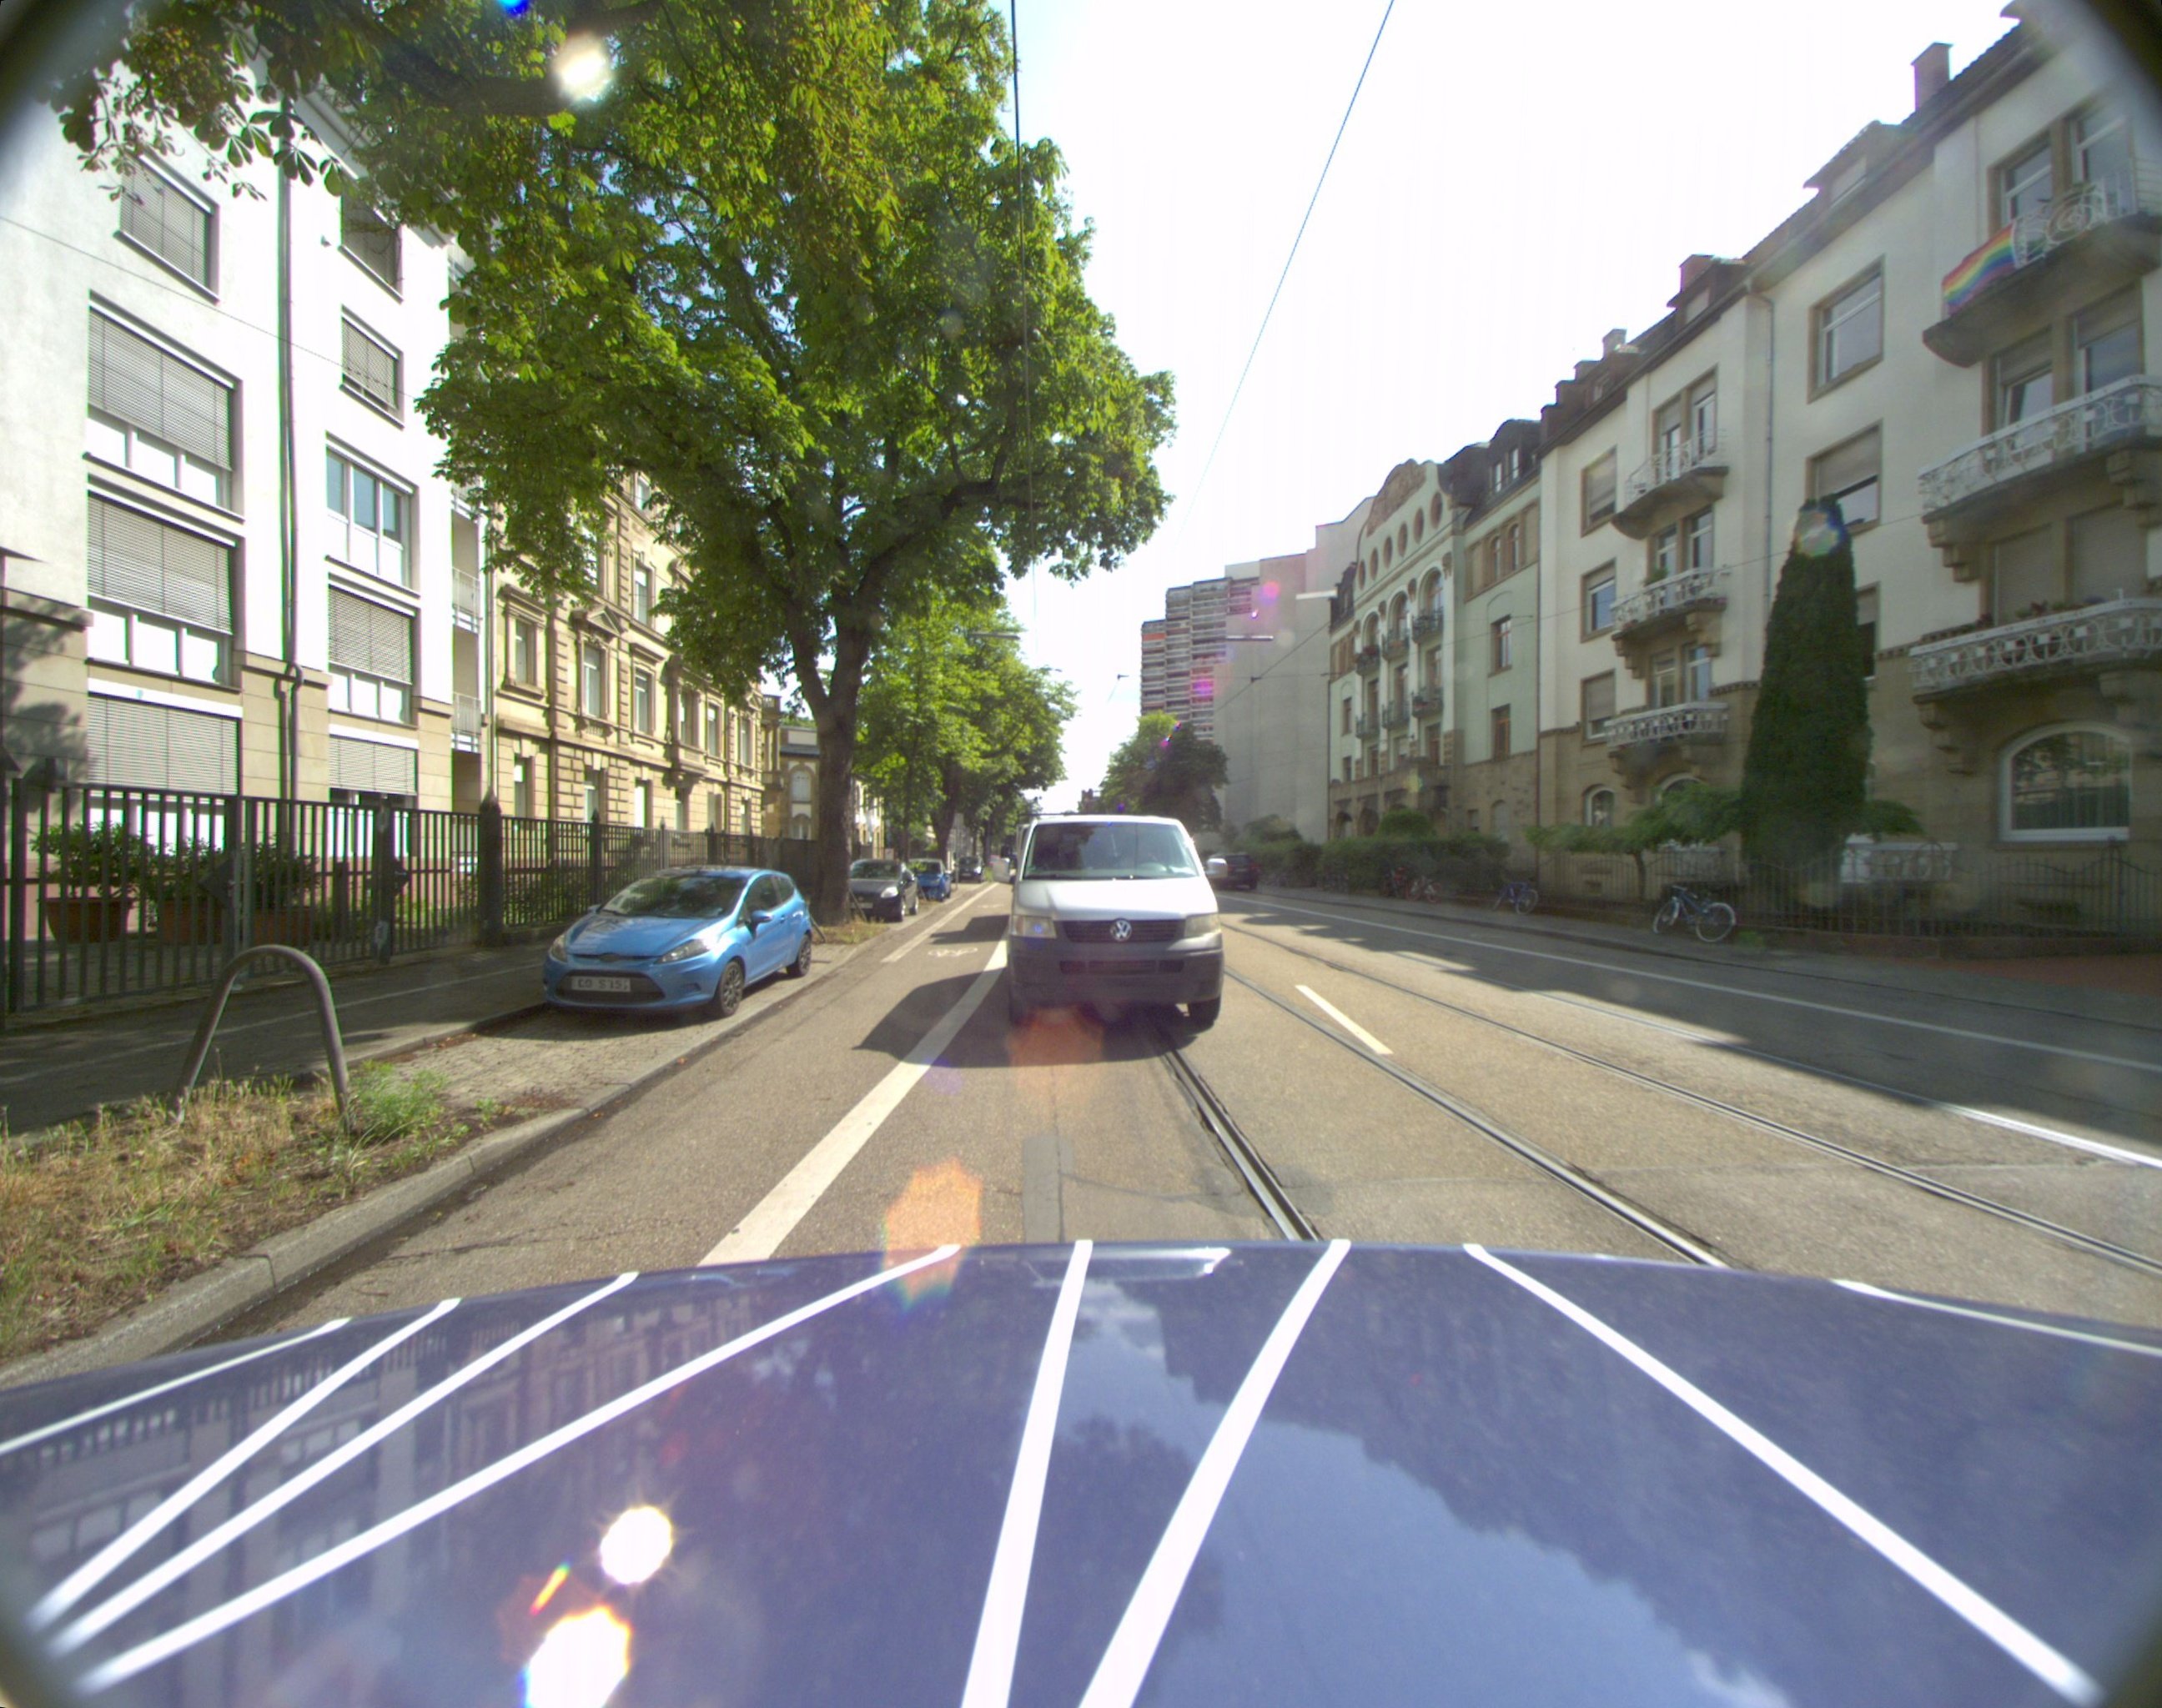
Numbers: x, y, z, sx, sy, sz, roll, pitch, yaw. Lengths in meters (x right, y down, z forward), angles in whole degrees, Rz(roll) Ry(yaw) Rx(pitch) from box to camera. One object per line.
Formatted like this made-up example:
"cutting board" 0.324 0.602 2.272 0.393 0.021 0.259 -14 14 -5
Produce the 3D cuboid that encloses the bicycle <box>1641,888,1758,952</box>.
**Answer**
"bicycle" 11.055 1.141 13.678 0.524 0.901 2.067 0 2 4

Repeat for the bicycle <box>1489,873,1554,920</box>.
"bicycle" 10.898 1.026 18.857 0.539 1.024 1.873 0 1 1

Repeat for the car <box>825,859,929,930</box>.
"car" -4.937 0.917 18.846 1.644 1.499 3.622 2 0 -2

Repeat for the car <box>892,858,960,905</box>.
"car" -5.425 0.913 26.959 1.724 1.443 3.924 2 0 -3

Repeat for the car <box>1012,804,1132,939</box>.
"car" -0.419 0.314 17.354 2.169 2.572 5.660 0 0 -6

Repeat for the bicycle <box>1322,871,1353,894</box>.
"bicycle" 9.948 1.086 29.473 0.587 0.792 1.873 -2 1 1

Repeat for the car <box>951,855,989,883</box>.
"car" -6.659 0.869 45.829 1.774 1.522 4.198 2 0 -3

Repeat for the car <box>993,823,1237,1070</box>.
"car" 0.285 0.699 8.202 1.831 1.856 4.845 -1 0 1

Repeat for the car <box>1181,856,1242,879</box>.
"car" 8.906 0.916 52.145 3.890 1.527 1.634 0 0 -1

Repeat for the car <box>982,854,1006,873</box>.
"car" -7.807 0.853 68.666 1.774 1.563 4.198 2 0 -3

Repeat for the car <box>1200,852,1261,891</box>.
"car" 7.007 0.776 36.138 1.796 1.701 4.330 0 0 -4

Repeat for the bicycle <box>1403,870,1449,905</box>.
"bicycle" 10.562 1.007 23.344 0.587 0.980 1.873 0 1 1

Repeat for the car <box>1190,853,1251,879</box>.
"car" 9.023 0.759 49.217 3.631 1.630 1.610 0 1 -3

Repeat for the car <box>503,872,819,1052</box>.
"car" -4.310 1.001 8.514 1.642 1.447 3.697 2 0 -4

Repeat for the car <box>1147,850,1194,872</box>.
"car" 8.048 0.594 68.371 3.997 1.914 1.831 0 0 -1

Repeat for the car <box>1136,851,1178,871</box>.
"car" 7.135 0.661 71.621 3.663 1.832 1.735 0 0 -3
